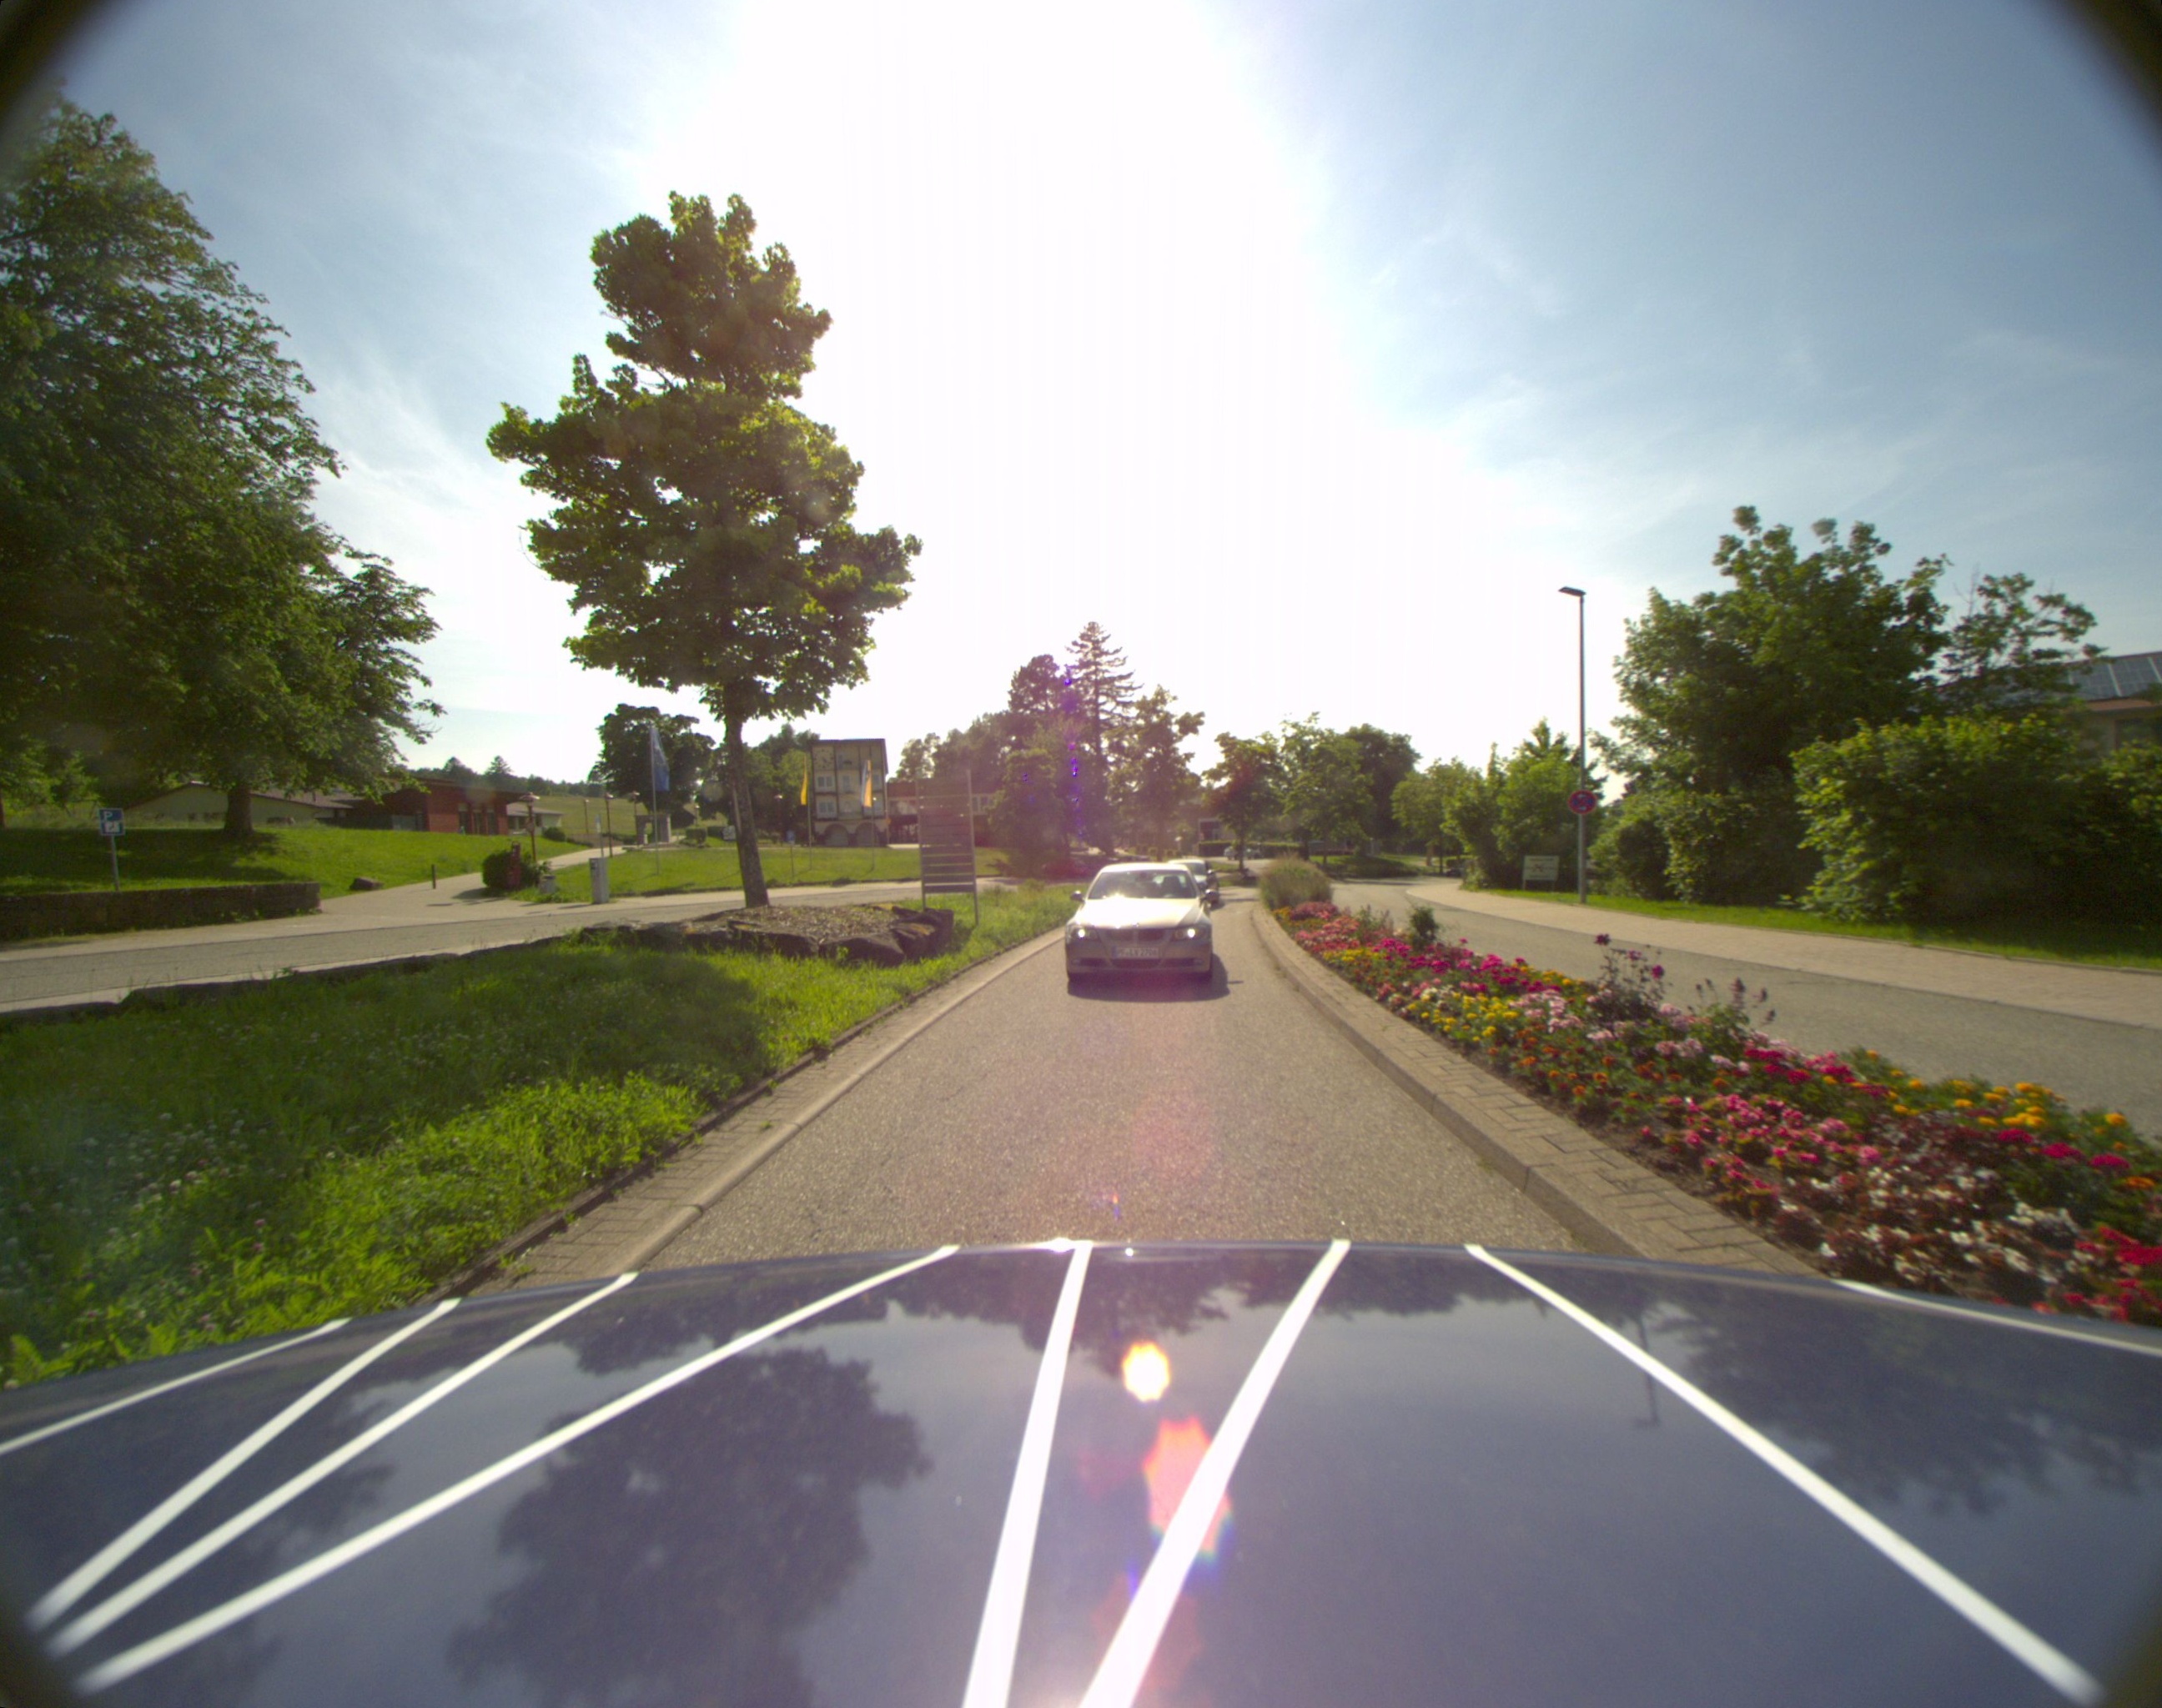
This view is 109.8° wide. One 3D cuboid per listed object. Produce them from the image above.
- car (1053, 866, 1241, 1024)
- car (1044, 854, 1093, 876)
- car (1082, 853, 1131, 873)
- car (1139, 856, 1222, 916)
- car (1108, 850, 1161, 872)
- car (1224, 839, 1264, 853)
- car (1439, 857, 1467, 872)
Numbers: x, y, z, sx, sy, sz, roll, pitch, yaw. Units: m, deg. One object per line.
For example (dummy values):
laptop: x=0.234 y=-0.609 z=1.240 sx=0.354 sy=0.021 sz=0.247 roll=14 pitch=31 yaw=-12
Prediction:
car: x=0.932 y=0.919 z=9.730 sx=1.837 sy=1.360 sz=4.583 roll=0 pitch=1 yaw=7
car: x=-0.972 y=0.784 z=56.600 sx=3.302 sy=1.396 sz=1.718 roll=3 pitch=3 yaw=40
car: x=1.940 y=0.672 z=58.881 sx=3.528 sy=1.419 sz=1.689 roll=3 pitch=2 yaw=44
car: x=3.108 y=0.886 z=23.049 sx=1.900 sy=1.499 sz=4.004 roll=2 pitch=1 yaw=16
car: x=4.358 y=0.522 z=62.201 sx=3.987 sy=1.609 sz=2.004 roll=3 pitch=2 yaw=44
car: x=19.577 y=-0.960 z=91.123 sx=4.372 sy=1.506 sz=1.790 roll=1 pitch=2 yaw=-17
car: x=34.157 y=0.925 z=69.727 sx=2.808 sy=1.357 sz=1.475 roll=0 pitch=1 yaw=-45
